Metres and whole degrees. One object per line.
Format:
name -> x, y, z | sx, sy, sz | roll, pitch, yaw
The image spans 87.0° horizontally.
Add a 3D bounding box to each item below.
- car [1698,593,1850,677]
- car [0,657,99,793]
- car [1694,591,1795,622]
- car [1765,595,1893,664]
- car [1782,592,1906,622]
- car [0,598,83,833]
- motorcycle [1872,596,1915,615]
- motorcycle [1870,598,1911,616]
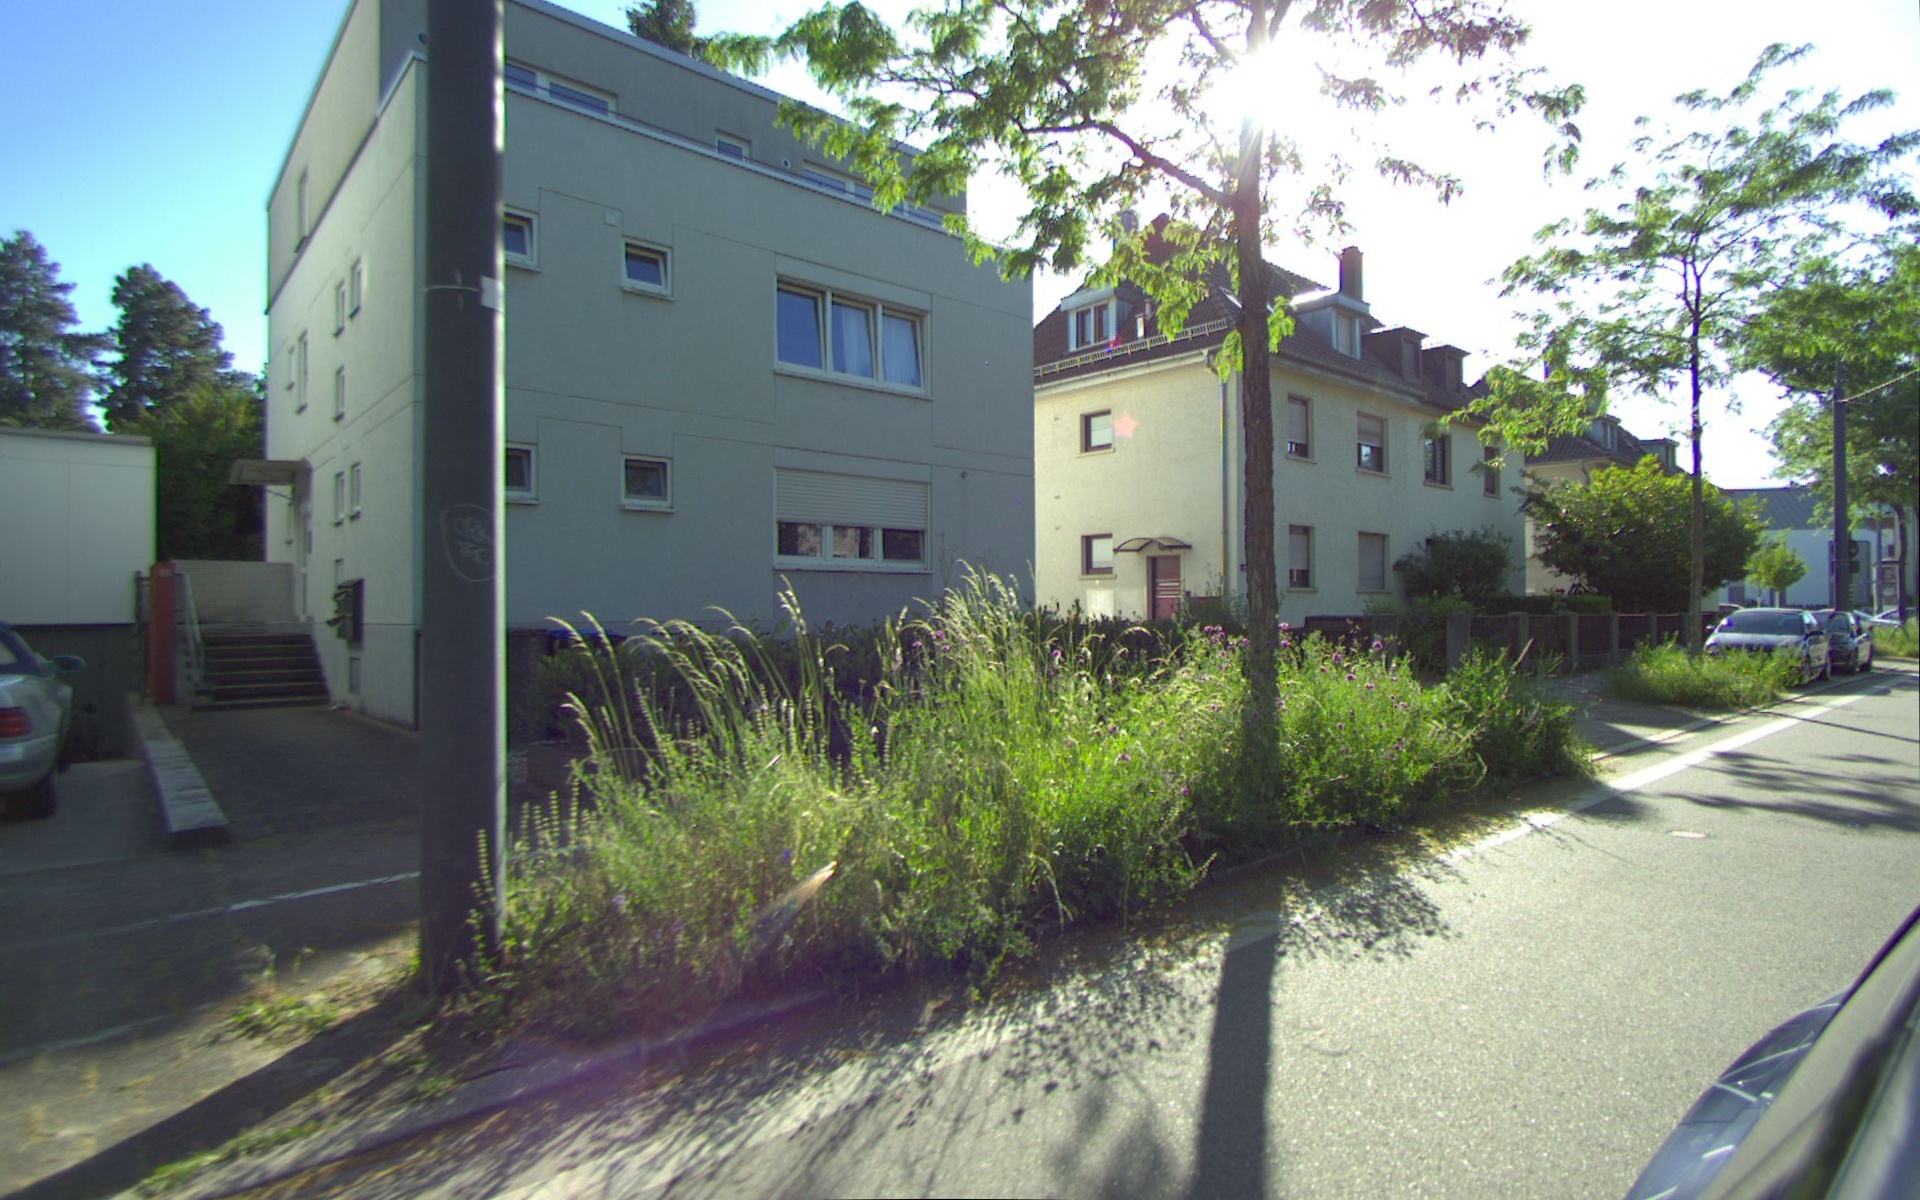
car -> 16.433, 0.631, 20.366 | 3.927, 1.514, 1.751 | 0, 0, -41
car -> -12.431, 1.542, 13.178 | 1.844, 1.360, 4.058 | 0, 0, -40
car -> 43.678, 0.367, 56.380 | 1.948, 1.663, 4.167 | 0, -1, -42
car -> 20.861, 0.635, 24.232 | 4.366, 1.514, 1.751 | 0, 0, -41
car -> 47.679, 0.351, 54.687 | 1.942, 1.484, 4.624 | -2, 1, -29
car -> -7.316, 0.669, 6.992 | 1.844, 1.360, 4.058 | 0, 0, -40
motorcycle -> 62.735, 0.372, 68.028 | 2.077, 1.290, 0.848 | 0, 0, 43
motorcycle -> 61.639, 0.460, 67.058 | 1.998, 1.172, 0.848 | 0, 0, 43
